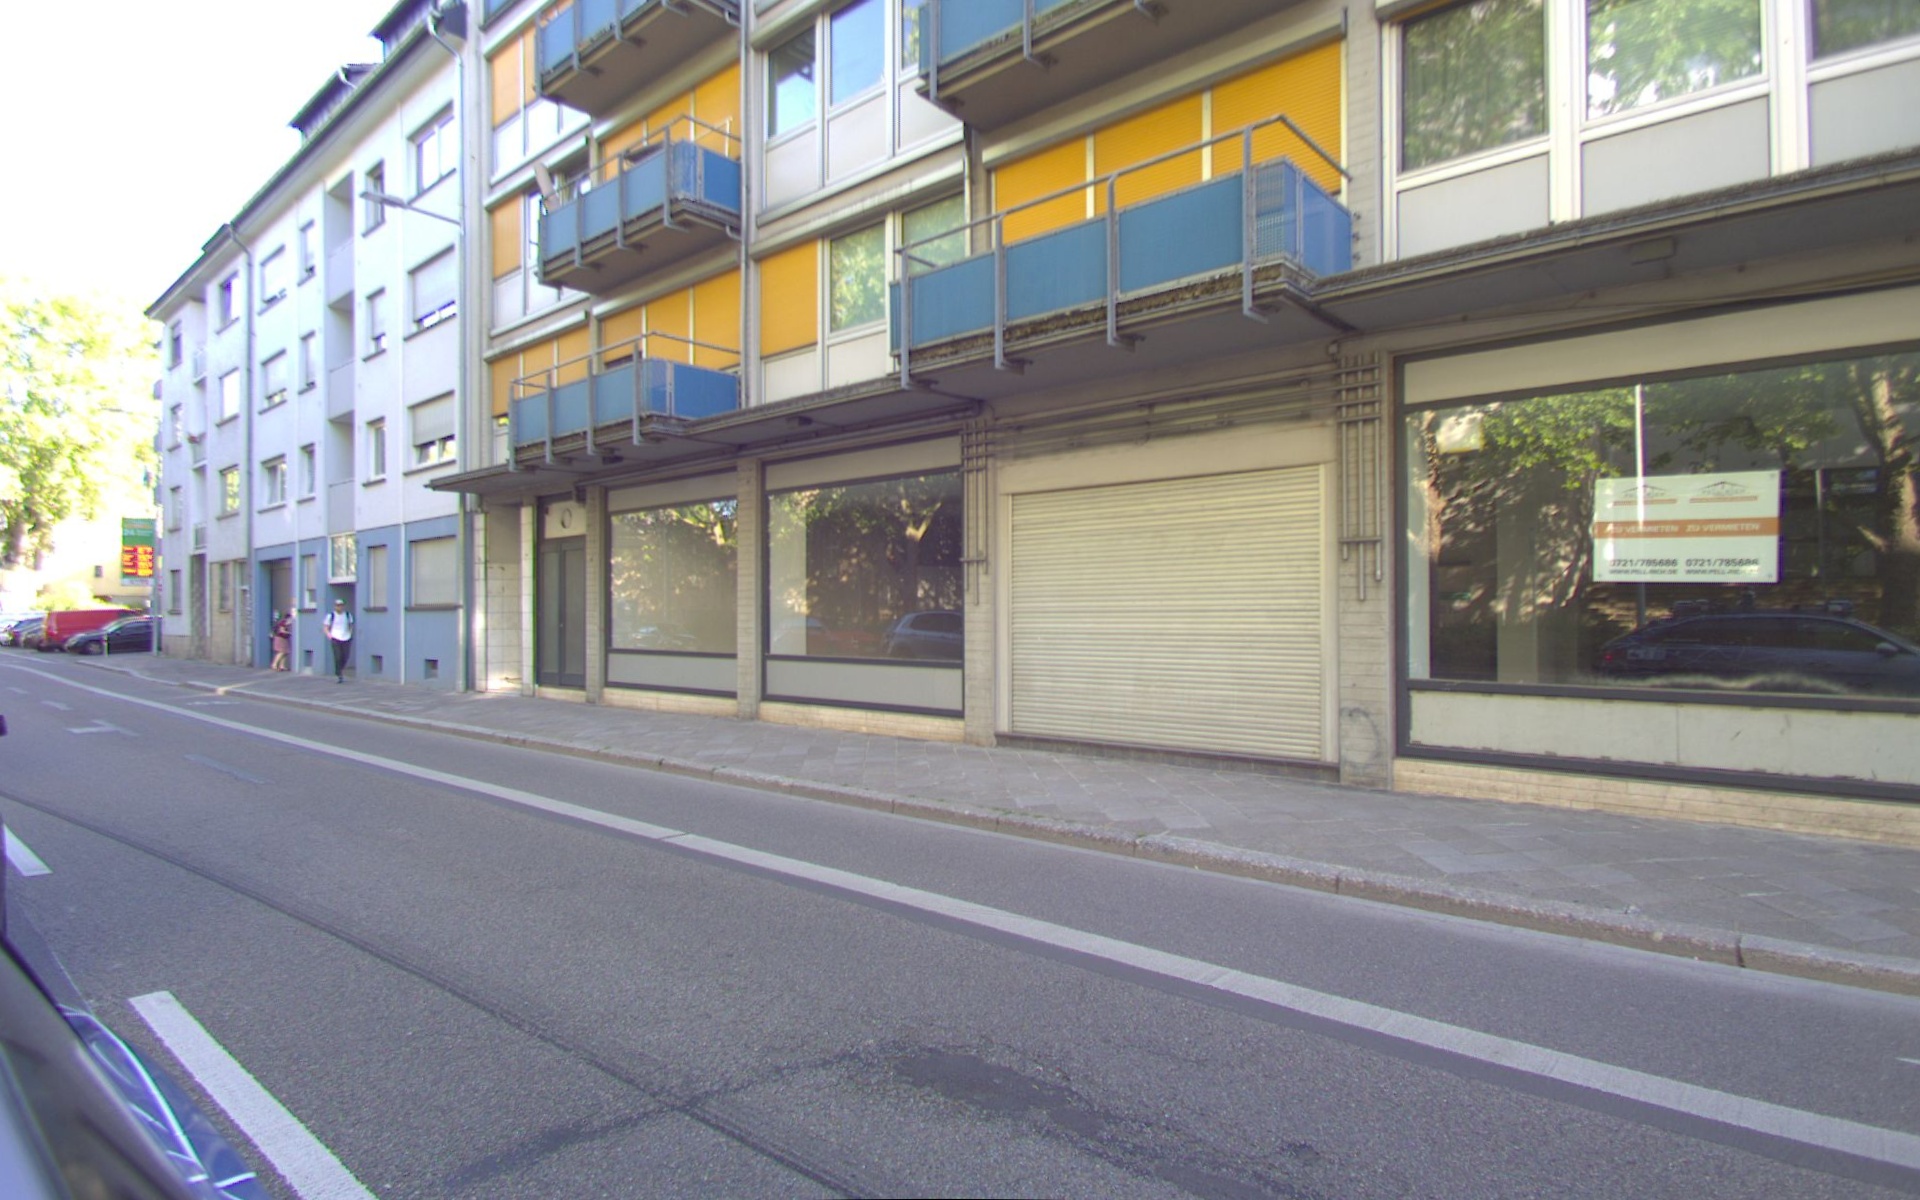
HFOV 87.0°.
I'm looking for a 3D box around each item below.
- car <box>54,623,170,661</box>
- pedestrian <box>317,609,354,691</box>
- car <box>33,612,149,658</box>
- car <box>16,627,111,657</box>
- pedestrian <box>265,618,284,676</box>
[{"bbox_3d":[-36.660,1.777,43.828,1.635,1.422,3.623,-1,0,41],"label":"car"},{"bbox_3d":[-13.633,1.077,22.100,0.343,1.739,0.562,-2,0,41],"label":"pedestrian"},{"bbox_3d":[-40.610,1.591,47.362,1.635,1.937,3.878,-1,0,41],"label":"car"},{"bbox_3d":[-42.984,2.008,48.566,1.294,1.258,3.283,-1,0,41],"label":"car"},{"bbox_3d":[-18.293,1.249,27.017,0.337,1.529,0.572,-2,0,-31],"label":"pedestrian"}]
